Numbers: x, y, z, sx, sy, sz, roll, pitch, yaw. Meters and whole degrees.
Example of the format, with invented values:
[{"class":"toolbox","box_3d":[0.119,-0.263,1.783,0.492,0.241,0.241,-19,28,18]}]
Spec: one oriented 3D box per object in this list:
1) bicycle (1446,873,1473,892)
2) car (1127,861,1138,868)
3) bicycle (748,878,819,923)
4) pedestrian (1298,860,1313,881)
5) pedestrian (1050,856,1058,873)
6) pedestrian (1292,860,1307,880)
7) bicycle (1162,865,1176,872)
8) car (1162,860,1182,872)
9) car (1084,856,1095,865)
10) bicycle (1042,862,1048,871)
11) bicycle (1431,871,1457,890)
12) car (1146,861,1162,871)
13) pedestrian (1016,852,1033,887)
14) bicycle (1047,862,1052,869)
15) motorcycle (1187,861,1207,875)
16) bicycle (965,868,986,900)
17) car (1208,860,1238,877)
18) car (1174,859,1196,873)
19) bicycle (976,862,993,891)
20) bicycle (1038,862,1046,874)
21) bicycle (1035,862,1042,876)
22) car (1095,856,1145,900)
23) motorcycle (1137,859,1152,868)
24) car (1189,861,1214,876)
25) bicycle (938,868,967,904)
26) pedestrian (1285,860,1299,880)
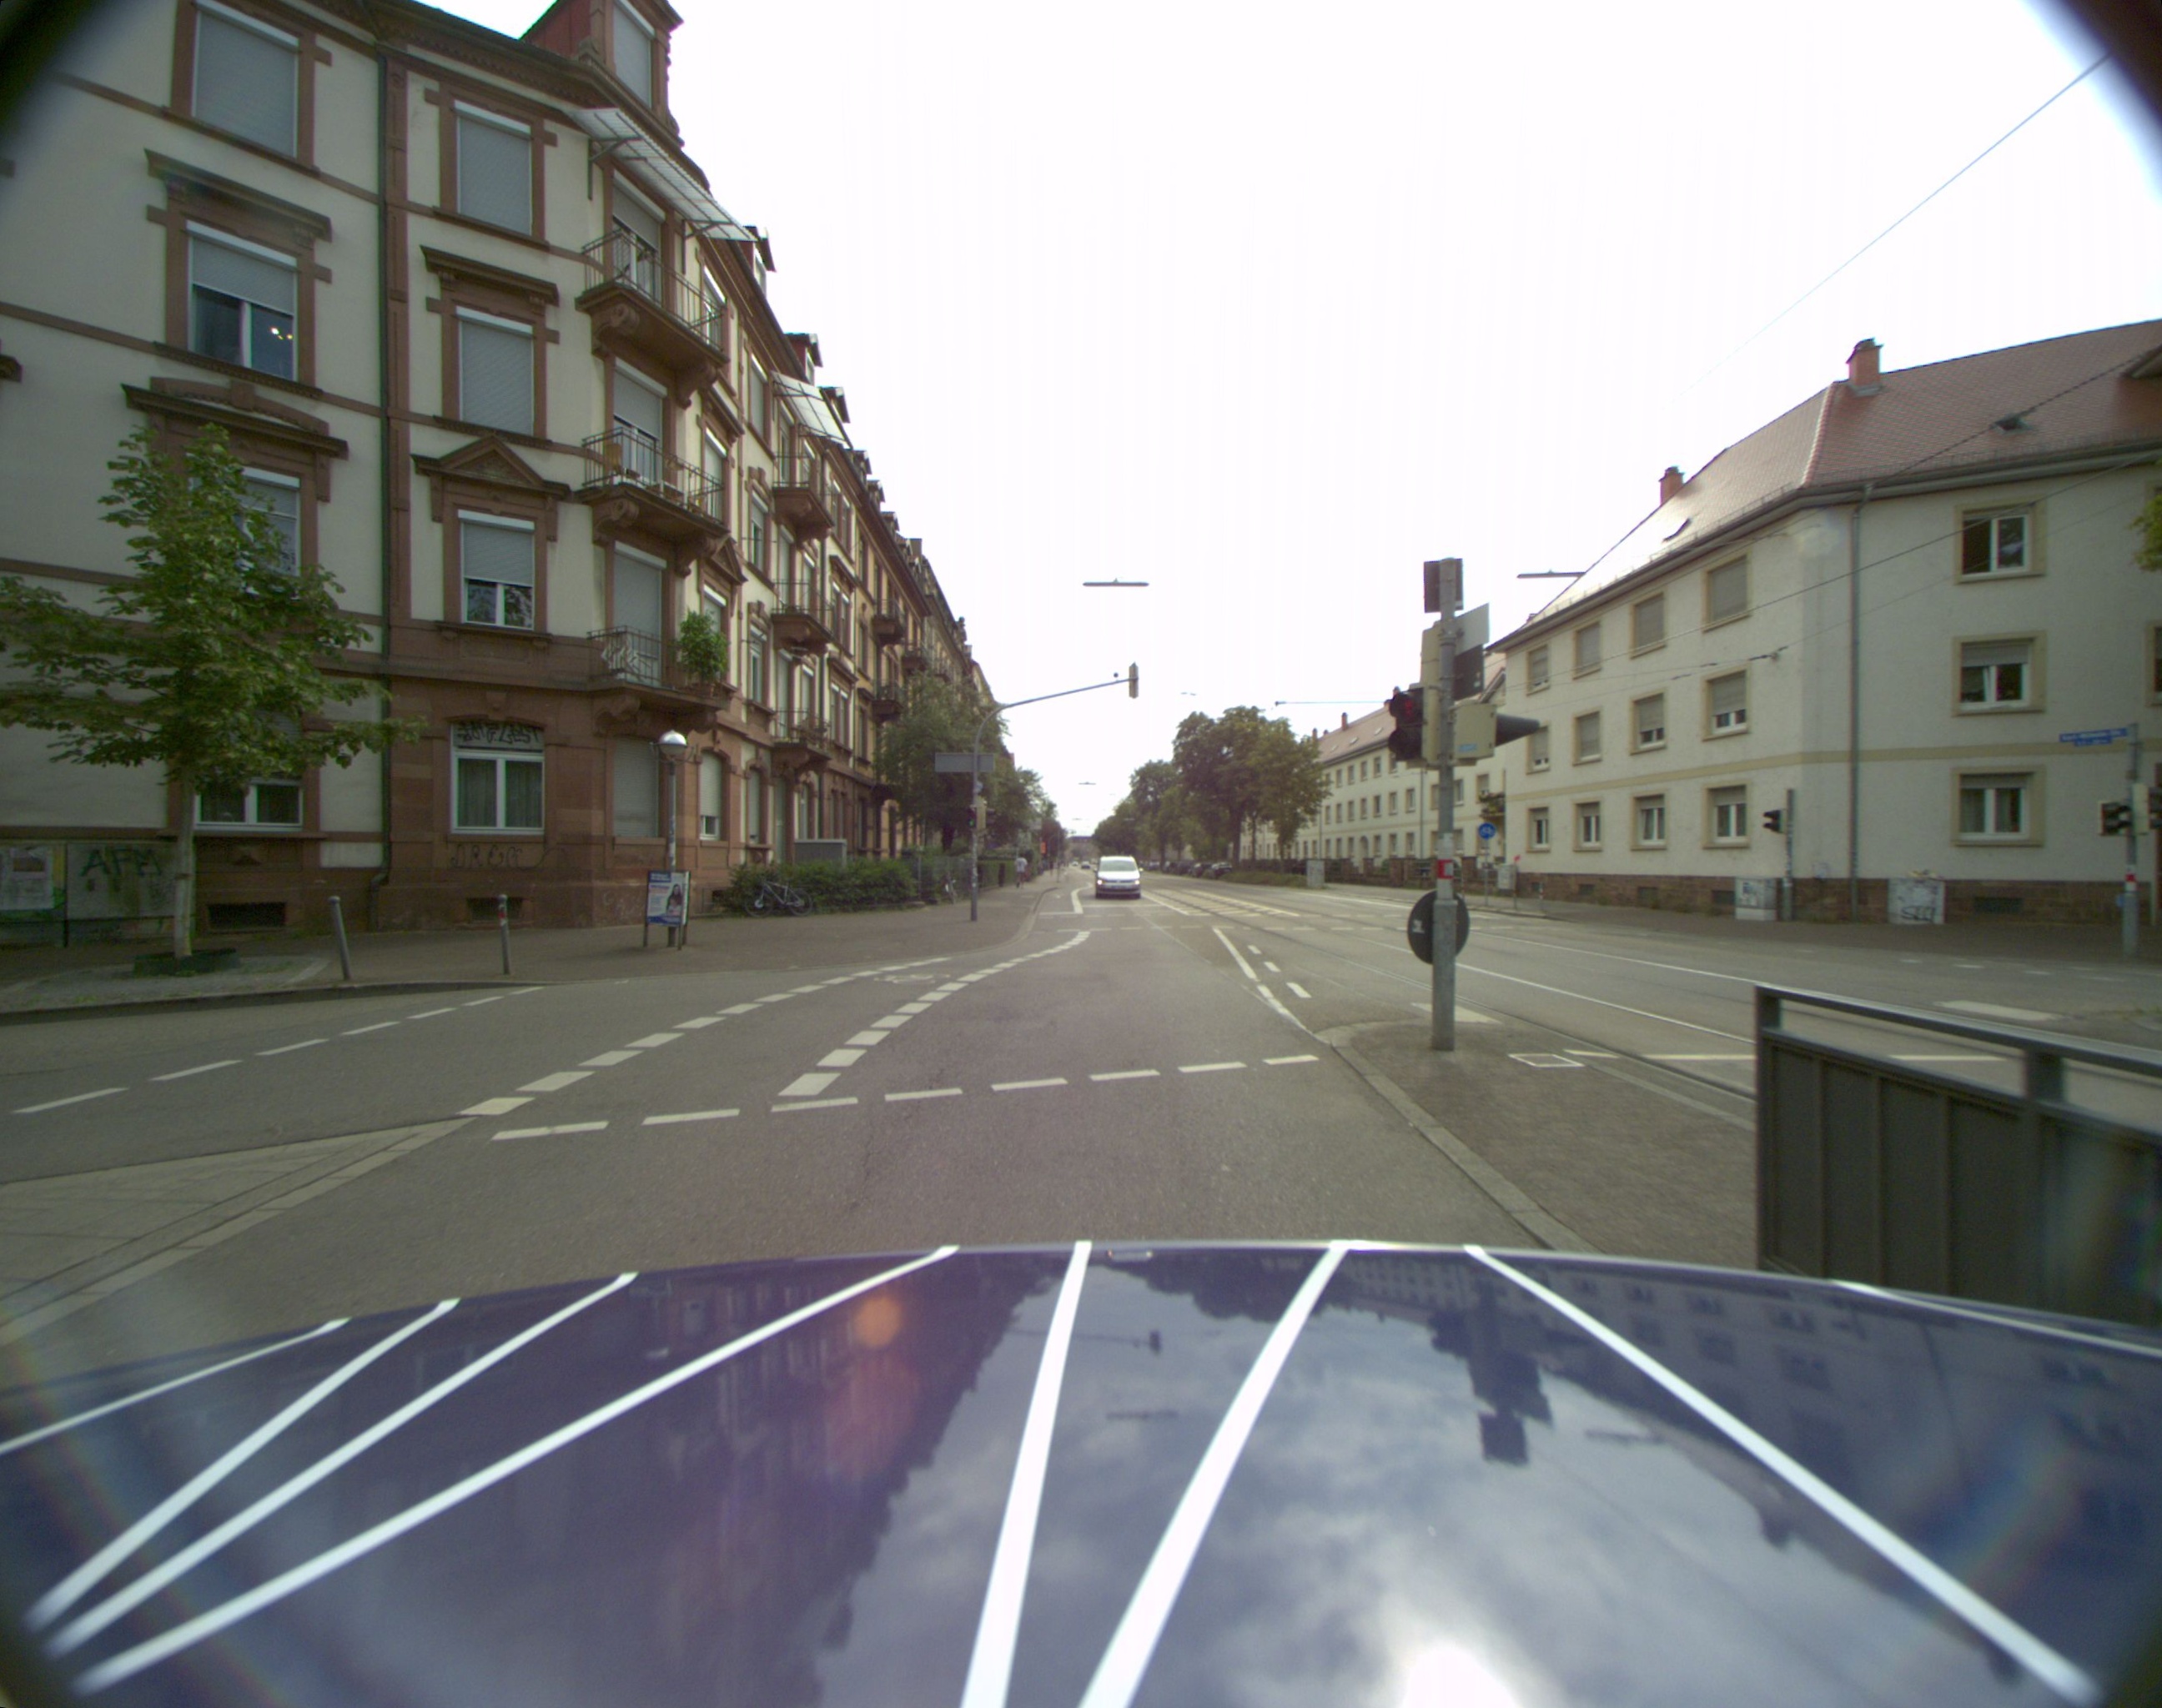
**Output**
[{"class":"bicycle","box_3d":[19.155,1.432,38.453,0.479,0.910,1.672,1,0,-1]},{"class":"car","box_3d":[10.307,2.056,151.943,1.732,1.462,4.299,1,0,-3]},{"class":"bicycle","box_3d":[-6.972,1.072,17.854,0.509,0.964,1.553,1,0,32]},{"class":"pedestrian","box_3d":[16.425,1.205,55.598,0.835,1.456,0.732,1,0,-6]},{"class":"pedestrian","box_3d":[-2.640,0.979,73.576,0.732,1.614,0.835,1,0,-1]},{"class":"pedestrian","box_3d":[16.297,1.201,56.752,0.835,1.456,0.732,1,0,-6]},{"class":"bicycle","box_3d":[11.582,1.881,99.983,1.672,0.965,0.672,1,0,-10]},{"class":"car","box_3d":[11.395,1.511,95.353,1.701,1.462,4.299,1,0,-3]},{"class":"car","box_3d":[1.682,1.316,146.669,1.947,1.675,4.001,1,0,3]},{"class":"bicycle","box_3d":[-3.903,1.350,82.825,0.580,0.977,1.672,4,0,-2]},{"class":"bicycle","box_3d":[18.190,1.316,38.082,0.479,0.910,1.672,1,0,-1]},{"class":"car","box_3d":[10.998,1.781,114.441,1.701,1.462,4.298,0,0,-3]},{"class":"pedestrian","box_3d":[-2.821,0.763,38.018,0.732,1.743,0.950,1,0,4]},{"class":"bicycle","box_3d":[-4.828,1.778,115.665,0.630,1.106,1.874,1,0,0]},{"class":"motorcycle","box_3d":[11.934,1.423,78.471,1.871,1.253,0.591,-5,1,-5]},{"class":"bicycle","box_3d":[-3.817,1.064,27.620,0.510,1.082,1.550,4,0,-1]},{"class":"car","box_3d":[12.387,1.229,66.488,1.701,1.415,4.299,-3,0,-1]},{"class":"car","box_3d":[11.725,1.328,86.013,1.790,1.602,4.299,1,0,-1]},{"class":"bicycle","box_3d":[-4.304,0.979,33.940,0.517,1.274,1.550,1,0,1]},{"class":"bicycle","box_3d":[-3.667,1.316,71.329,0.580,1.105,1.672,4,0,-2]},{"class":"bicycle","box_3d":[-3.716,1.294,65.969,0.580,1.105,1.672,1,0,-2]},{"class":"car","box_3d":[1.558,0.948,31.917,1.876,1.670,5.131,1,0,0]},{"class":"motorcycle","box_3d":[10.829,1.600,130.200,2.311,1.382,0.838,-5,1,31]},{"class":"car","box_3d":[11.747,1.408,74.510,1.701,1.415,4.299,-1,0,-1]},{"class":"bicycle","box_3d":[-4.199,1.039,24.892,0.673,1.100,1.672,1,0,-1]},{"class":"pedestrian","box_3d":[16.207,1.199,58.436,0.835,1.503,0.732,1,0,-6]}]
